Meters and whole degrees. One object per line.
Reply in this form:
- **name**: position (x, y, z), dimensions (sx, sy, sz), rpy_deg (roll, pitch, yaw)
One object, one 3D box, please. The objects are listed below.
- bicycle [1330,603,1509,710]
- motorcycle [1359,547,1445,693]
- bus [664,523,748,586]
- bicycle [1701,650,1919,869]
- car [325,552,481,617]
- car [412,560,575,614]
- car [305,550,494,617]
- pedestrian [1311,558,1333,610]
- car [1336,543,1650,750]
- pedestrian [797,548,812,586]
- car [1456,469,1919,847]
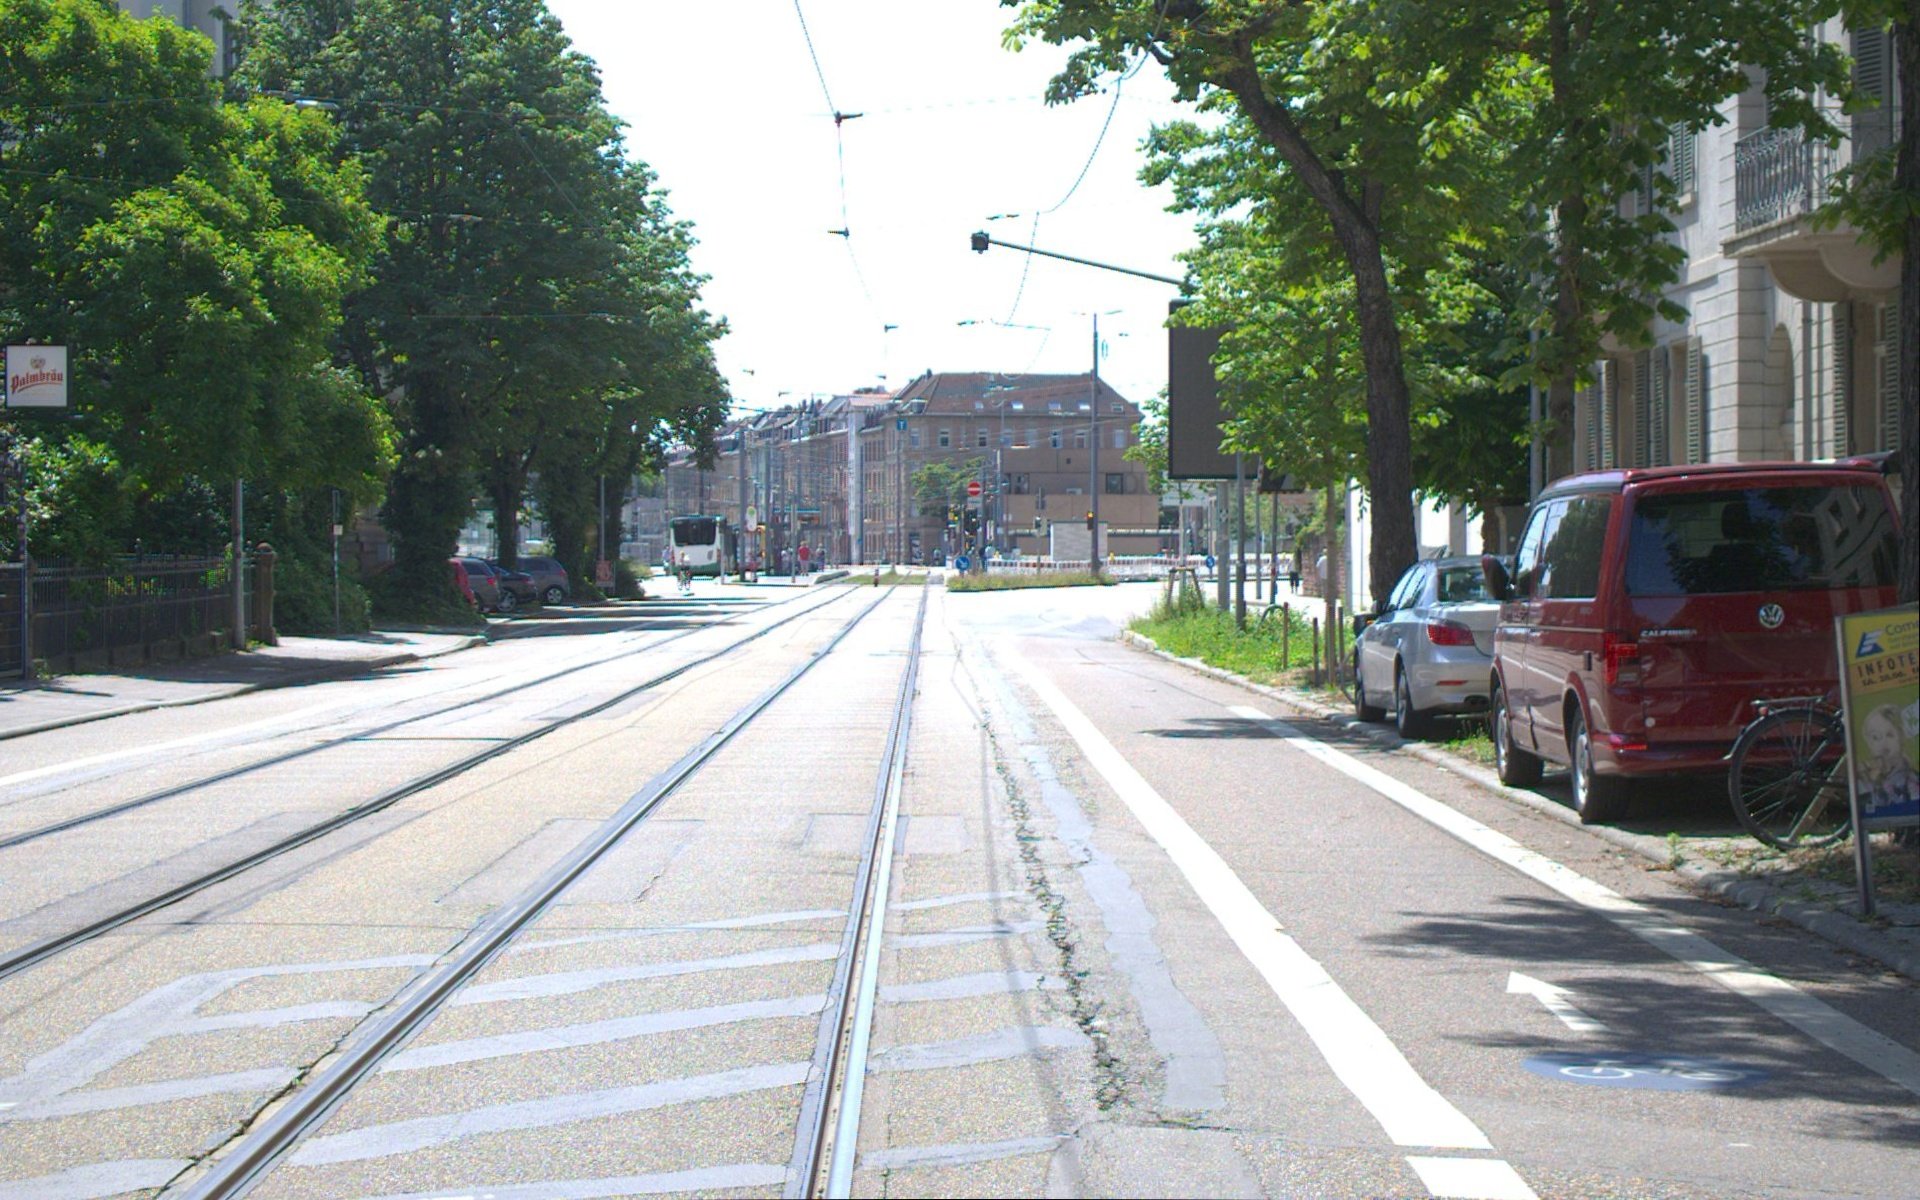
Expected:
- **bicycle**: position (4.387, 0.535, 32.832), dimensions (1.658, 1.012, 0.371), rpy_deg (0, 1, 1)
- **motorcycle**: position (4.734, 0.186, 36.673), dimensions (0.745, 1.501, 2.557), rpy_deg (0, 1, 11)
- **bus**: position (-13.331, -2.401, 181.853), dimensions (3.010, 3.147, 17.498), rpy_deg (0, 1, 0)
- **bicycle**: position (4.478, 0.760, 16.656), dimensions (1.696, 1.018, 0.365), rpy_deg (-1, 0, -6)
- **car**: position (-13.393, -0.368, 82.592), dimensions (3.341, 1.511, 1.670), rpy_deg (1, 1, -26)
- **car**: position (-12.295, -0.355, 90.591), dimensions (3.920, 1.369, 1.670), rpy_deg (-1, 1, -26)
- **car**: position (-13.931, -0.413, 85.486), dimensions (4.307, 1.579, 1.669), rpy_deg (1, 0, -29)
- **pedestrian**: position (11.381, -0.510, 108.182), dimensions (0.661, 1.641, 0.624), rpy_deg (0, 1, 5)
- **car**: position (4.345, 0.348, 28.731), dimensions (1.859, 1.572, 4.877), rpy_deg (0, 0, 0)
- **pedestrian**: position (-7.773, -1.668, 171.988), dimensions (0.672, 1.903, 0.641), rpy_deg (0, 1, -10)
- **car**: position (4.309, 0.286, 20.867), dimensions (1.859, 2.007, 4.976), rpy_deg (0, 1, 0)
